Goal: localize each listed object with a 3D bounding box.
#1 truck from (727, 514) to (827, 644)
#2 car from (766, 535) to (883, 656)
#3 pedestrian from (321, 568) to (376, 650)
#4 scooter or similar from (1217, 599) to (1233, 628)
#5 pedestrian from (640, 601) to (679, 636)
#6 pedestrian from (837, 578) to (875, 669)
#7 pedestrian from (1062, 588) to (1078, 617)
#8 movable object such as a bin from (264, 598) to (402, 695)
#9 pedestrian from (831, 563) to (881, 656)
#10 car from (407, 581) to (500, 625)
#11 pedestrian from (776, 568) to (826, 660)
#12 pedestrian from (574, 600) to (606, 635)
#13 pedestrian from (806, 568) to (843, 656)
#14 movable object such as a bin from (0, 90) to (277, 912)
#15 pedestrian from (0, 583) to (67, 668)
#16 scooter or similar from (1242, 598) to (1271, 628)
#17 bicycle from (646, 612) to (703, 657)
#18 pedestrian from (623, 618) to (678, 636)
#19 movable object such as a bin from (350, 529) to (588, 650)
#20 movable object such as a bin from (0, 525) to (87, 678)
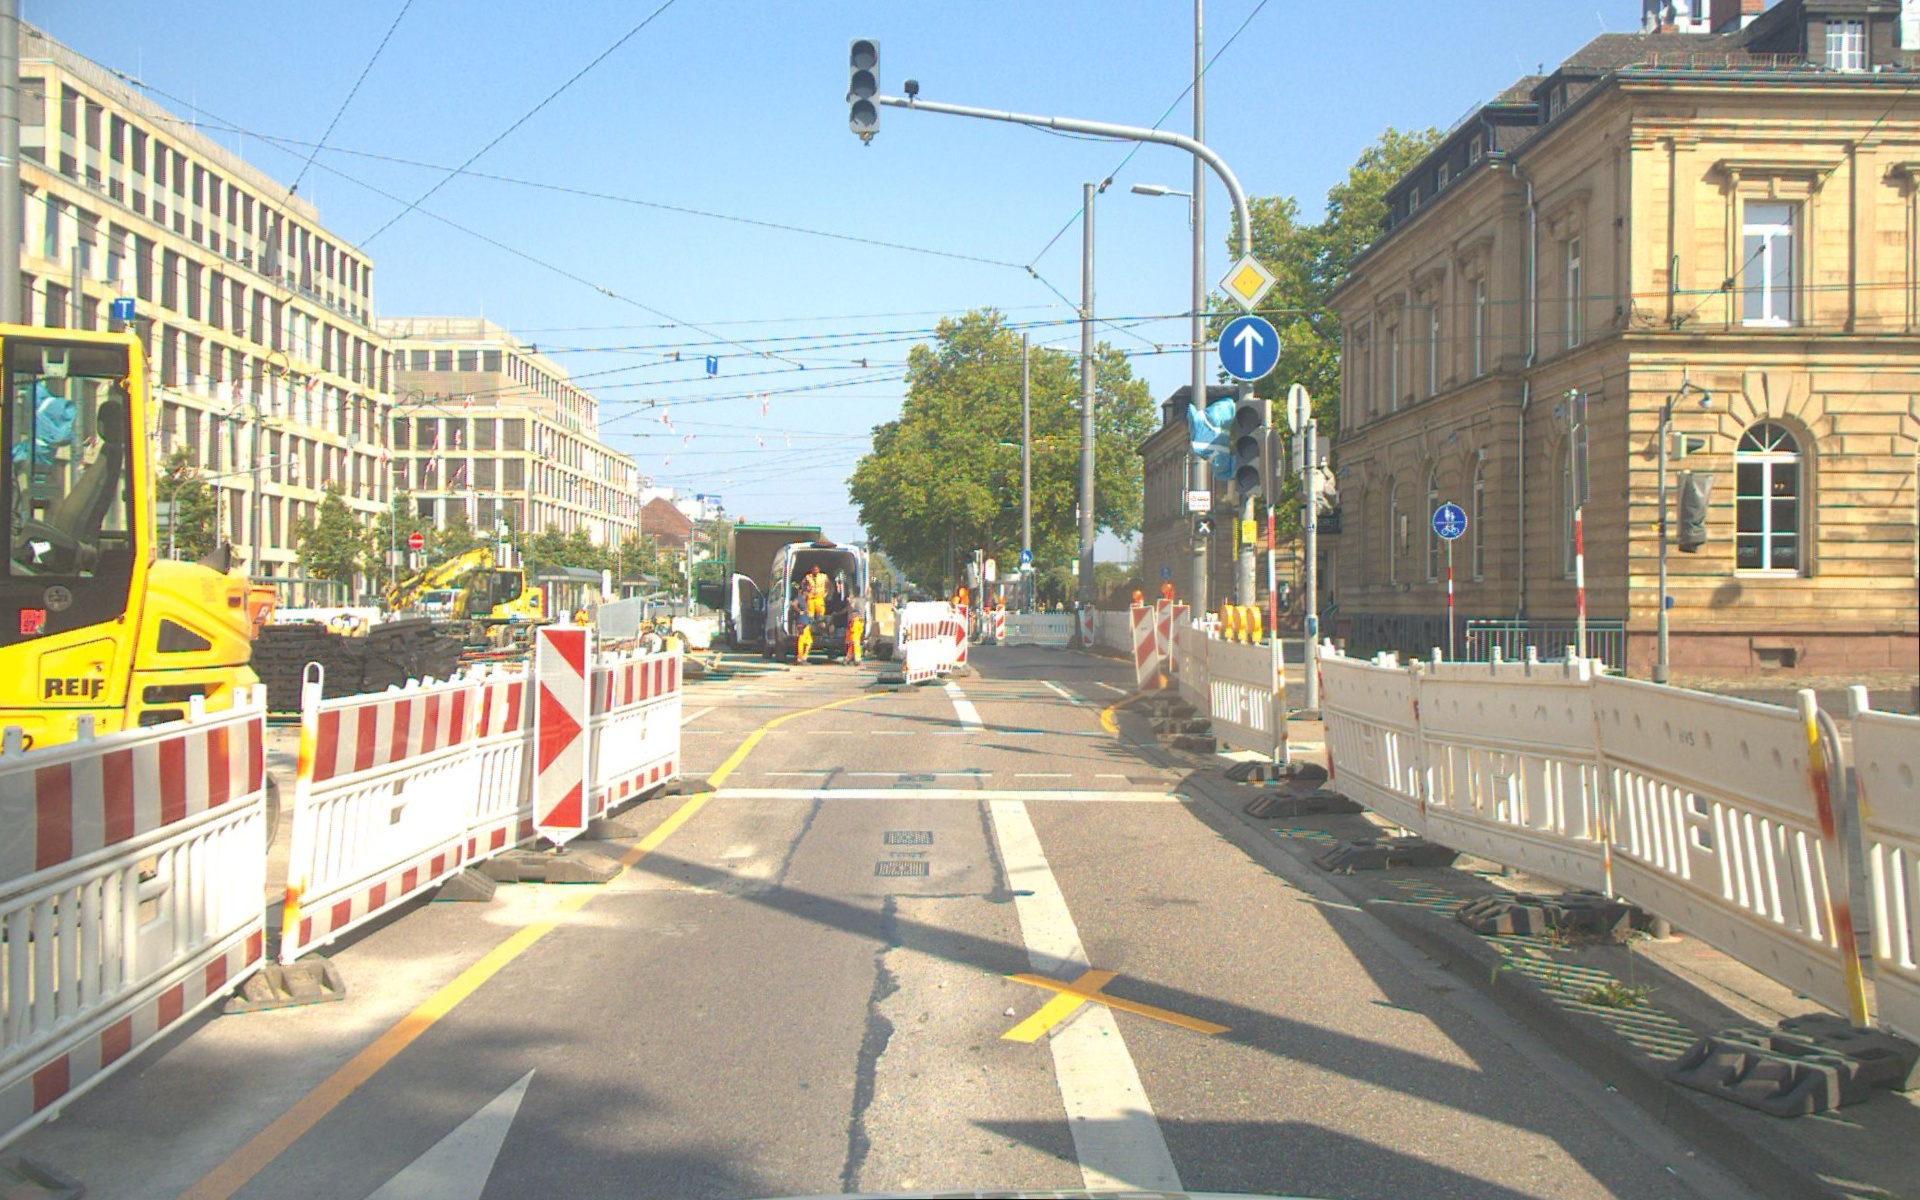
[{"bbox_3d":[-5.843,-0.626,51.769,2.625,3.742,8.194,0,0,-10],"label":"truck"},{"bbox_3d":[-3.414,-0.095,40.642,2.186,2.777,5.154,0,0,-12],"label":"car"},{"bbox_3d":[-14.440,0.213,39.038,1.007,1.898,1.133,0,-1,-33],"label":"pedestrian"},{"bbox_3d":[11.560,0.579,72.086,0.412,1.231,1.255,0,2,21],"label":"scooter or similar"},{"bbox_3d":[-11.762,0.727,64.750,1.285,1.329,0.798,0,0,23],"label":"pedestrian"},{"bbox_3d":[-2.389,0.529,38.014,0.718,2.049,0.908,-1,0,5],"label":"pedestrian"},{"bbox_3d":[6.912,0.141,103.765,0.802,1.715,1.012,-5,0,-1],"label":"pedestrian"},{"bbox_3d":[-8.148,0.576,21.603,0.734,1.190,2.292,0,0,6],"label":"movable object such as a bin"},{"bbox_3d":[-2.327,0.210,37.039,0.720,2.049,0.905,-1,0,32],"label":"pedestrian"},{"bbox_3d":[-24.691,0.157,80.875,1.773,2.066,5.121,0,0,18],"label":"car"},{"bbox_3d":[-3.598,0.315,37.562,0.720,2.049,0.905,-1,0,30],"label":"pedestrian"},{"bbox_3d":[-14.624,0.690,65.388,0.994,1.329,0.983,0,0,2],"label":"pedestrian"},{"bbox_3d":[-3.191,0.291,39.091,0.718,2.049,0.908,-1,0,4],"label":"pedestrian"},{"bbox_3d":[-6.263,-0.421,7.085,6.055,3.404,2.104,0,0,-21],"label":"movable object such as a bin"},{"bbox_3d":[-16.614,0.443,29.218,1.119,1.467,1.020,0,-1,0],"label":"pedestrian"},{"bbox_3d":[13.016,0.562,72.608,1.236,1.231,0.419,-2,2,-27],"label":"scooter or similar"},{"bbox_3d":[-7.505,0.890,43.459,1.632,1.156,0.614,-1,-1,42],"label":"bicycle"},{"bbox_3d":[-11.484,1.003,61.386,1.862,0.647,0.913,0,0,2],"label":"pedestrian"},{"bbox_3d":[-17.755,-0.391,60.608,3.432,4.083,9.040,-1,0,22],"label":"movable object such as a bin"},{"bbox_3d":[-22.668,0.058,36.044,2.788,3.388,8.346,-1,0,0],"label":"movable object such as a bin"}]
